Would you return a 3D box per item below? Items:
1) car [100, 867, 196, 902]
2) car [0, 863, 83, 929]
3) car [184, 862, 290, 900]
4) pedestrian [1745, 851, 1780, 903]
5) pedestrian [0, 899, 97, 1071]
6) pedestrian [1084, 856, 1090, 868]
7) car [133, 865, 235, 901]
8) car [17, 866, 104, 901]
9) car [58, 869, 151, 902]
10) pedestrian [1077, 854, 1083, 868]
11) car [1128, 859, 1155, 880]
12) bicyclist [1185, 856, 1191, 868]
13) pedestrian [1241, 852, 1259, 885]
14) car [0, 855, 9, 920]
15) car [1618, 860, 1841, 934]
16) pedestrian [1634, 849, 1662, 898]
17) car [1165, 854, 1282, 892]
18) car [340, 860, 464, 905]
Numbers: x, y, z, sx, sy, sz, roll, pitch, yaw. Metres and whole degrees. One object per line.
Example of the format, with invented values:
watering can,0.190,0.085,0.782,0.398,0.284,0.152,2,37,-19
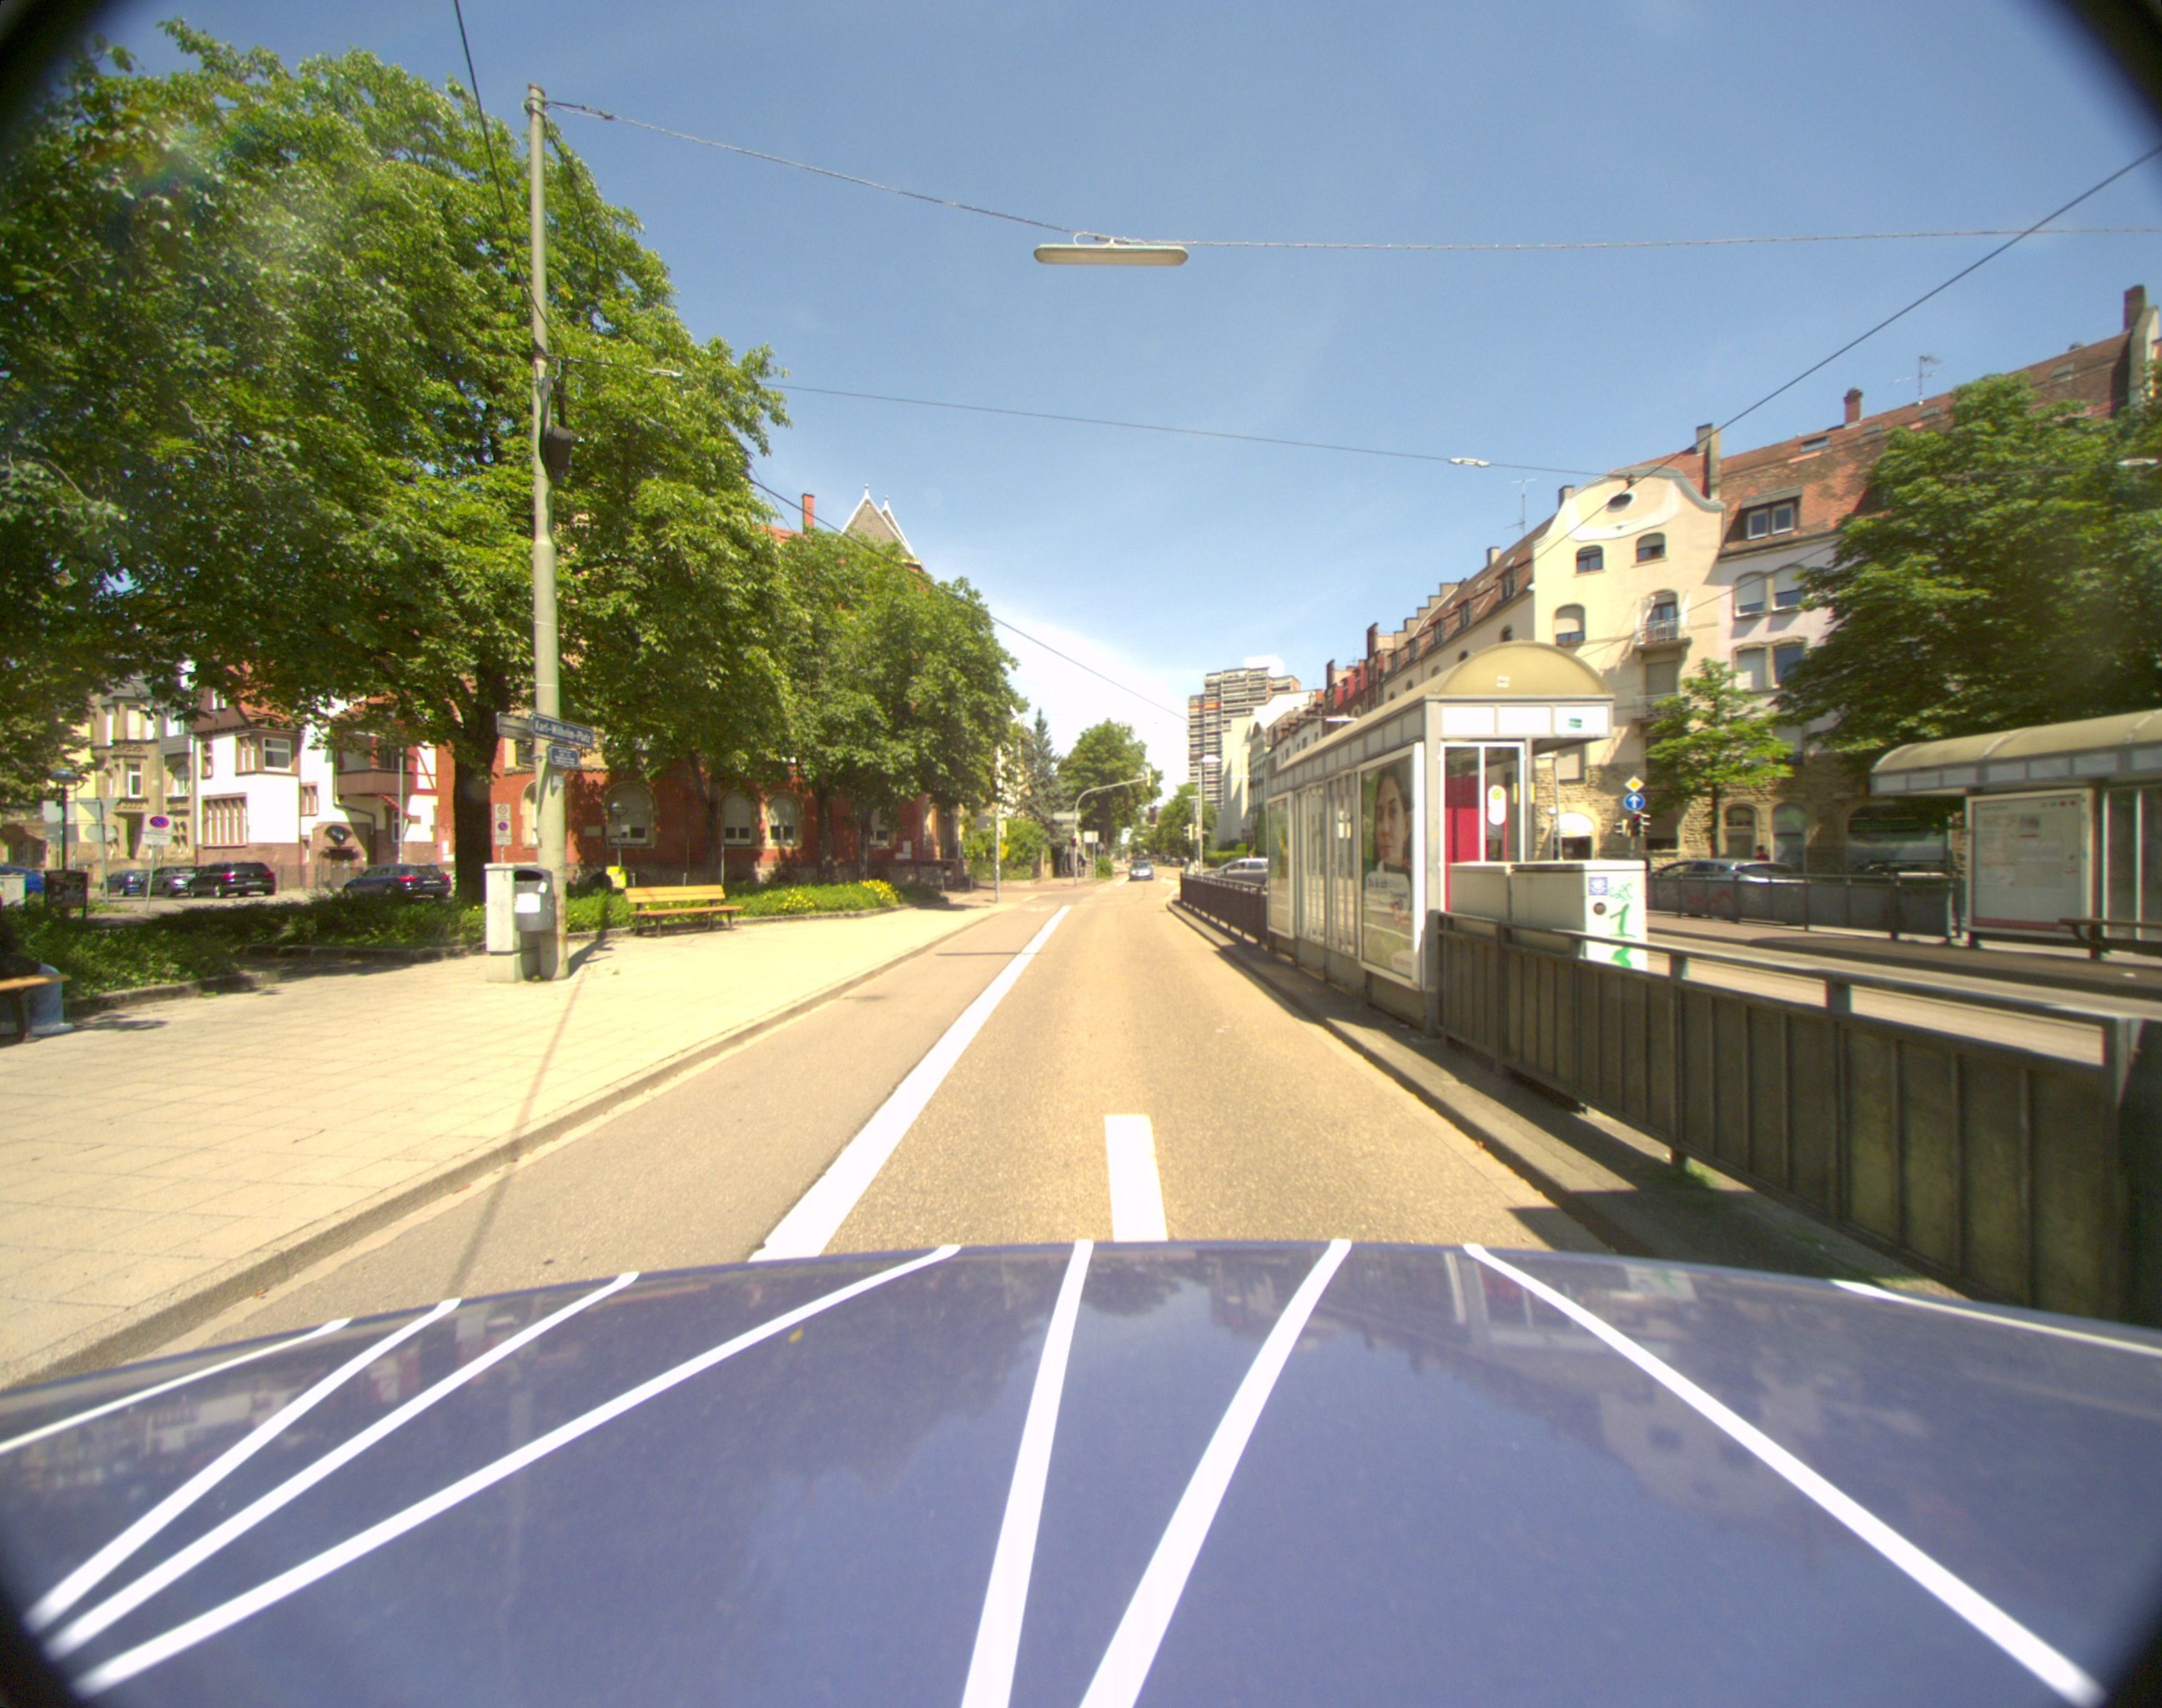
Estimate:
car,-48.427,1.577,39.430,4.299,1.608,1.941,-2,1,23
car,-32.847,1.303,22.023,1.934,1.869,4.315,-2,1,23
car,-39.593,1.279,35.662,4.299,1.608,1.941,-2,1,23
pedestrian,20.260,0.675,22.596,0.594,1.542,0.474,0,0,-1
pedestrian,-7.746,0.910,5.414,0.566,1.136,0.725,0,1,-16
pedestrian,0.866,1.100,104.832,0.686,1.732,0.660,-2,1,3
car,-44.153,1.435,37.408,4.299,1.608,1.941,-2,1,23
car,-59.182,1.715,44.074,4.299,1.862,1.941,-2,1,23
car,-53.028,1.733,41.264,4.299,1.608,1.941,-2,1,23
pedestrian,-0.149,0.794,89.196,0.702,1.645,0.665,0,0,1
car,4.455,1.121,55.891,1.895,1.372,4.001,-2,1,5
bicyclist,16.177,1.230,114.979,0.644,1.864,0.716,-2,1,-2
pedestrian,9.222,0.787,41.455,0.838,1.813,0.674,0,0,4
car,-37.663,1.203,23.790,1.934,2.178,4.315,-2,1,23
car,14.835,0.911,17.723,1.812,1.386,4.000,-2,1,1
pedestrian,19.310,0.656,25.887,0.594,1.637,0.474,0,0,5
car,6.369,0.865,34.385,5.028,1.474,1.939,-2,1,8
car,-27.047,1.137,30.283,4.299,1.608,1.941,-2,1,23
